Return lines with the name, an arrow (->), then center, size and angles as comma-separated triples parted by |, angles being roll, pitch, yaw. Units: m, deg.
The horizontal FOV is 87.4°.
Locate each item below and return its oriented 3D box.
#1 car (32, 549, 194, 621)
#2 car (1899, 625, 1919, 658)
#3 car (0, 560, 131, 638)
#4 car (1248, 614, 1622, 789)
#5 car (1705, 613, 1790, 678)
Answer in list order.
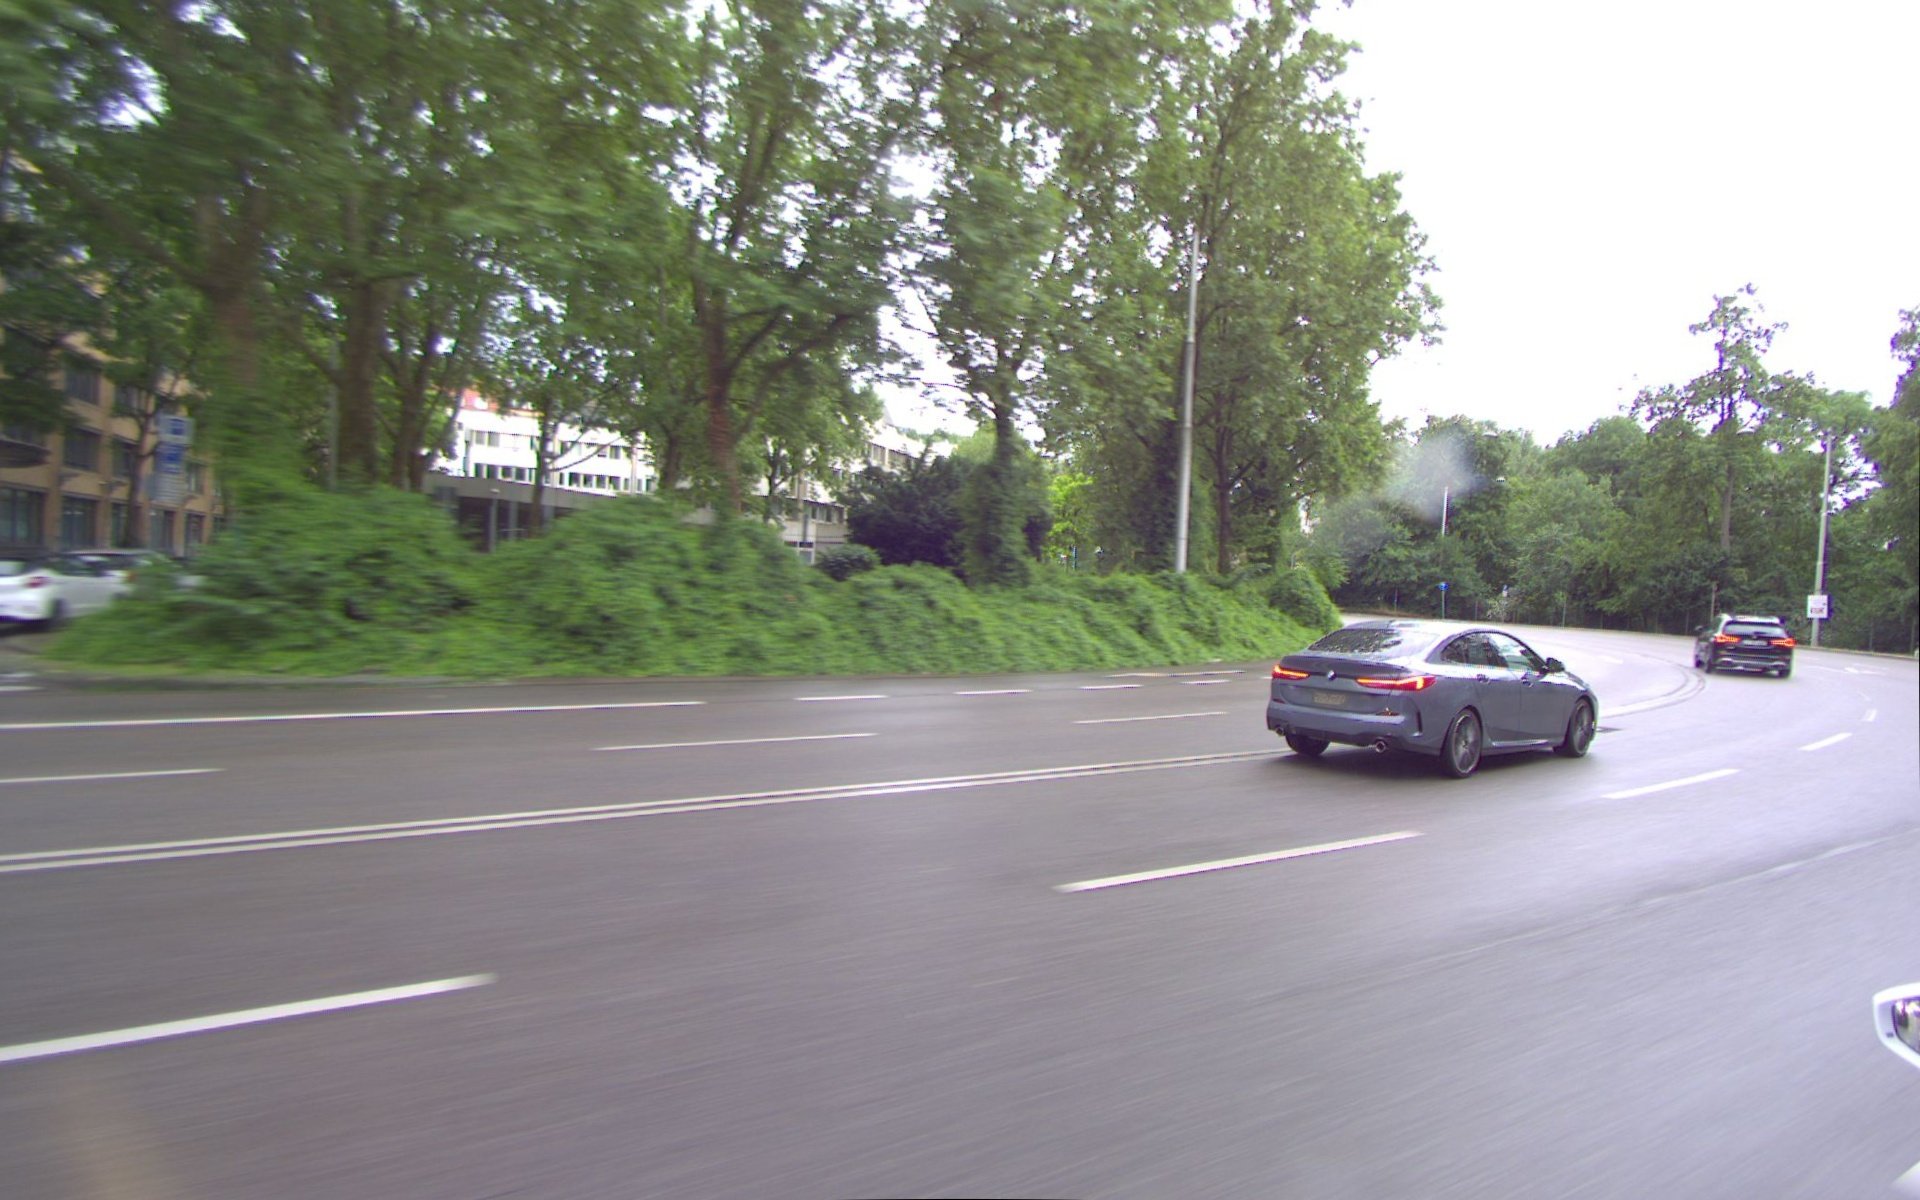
car -> -19.541, -0.344, 23.378 | 1.753, 1.532, 3.805 | 0, 1, -22
car -> 43.964, 1.998, 44.277 | 1.659, 1.445, 4.373 | 6, 2, 13
car -> -17.957, -0.046, 19.519 | 1.752, 1.394, 3.490 | 0, 1, -20
car -> 5.122, 0.922, 10.562 | 4.497, 1.434, 1.653 | 2, 0, -37
car -> 22.453, 1.231, 28.757 | 1.735, 1.607, 4.396 | 2, 1, 36
